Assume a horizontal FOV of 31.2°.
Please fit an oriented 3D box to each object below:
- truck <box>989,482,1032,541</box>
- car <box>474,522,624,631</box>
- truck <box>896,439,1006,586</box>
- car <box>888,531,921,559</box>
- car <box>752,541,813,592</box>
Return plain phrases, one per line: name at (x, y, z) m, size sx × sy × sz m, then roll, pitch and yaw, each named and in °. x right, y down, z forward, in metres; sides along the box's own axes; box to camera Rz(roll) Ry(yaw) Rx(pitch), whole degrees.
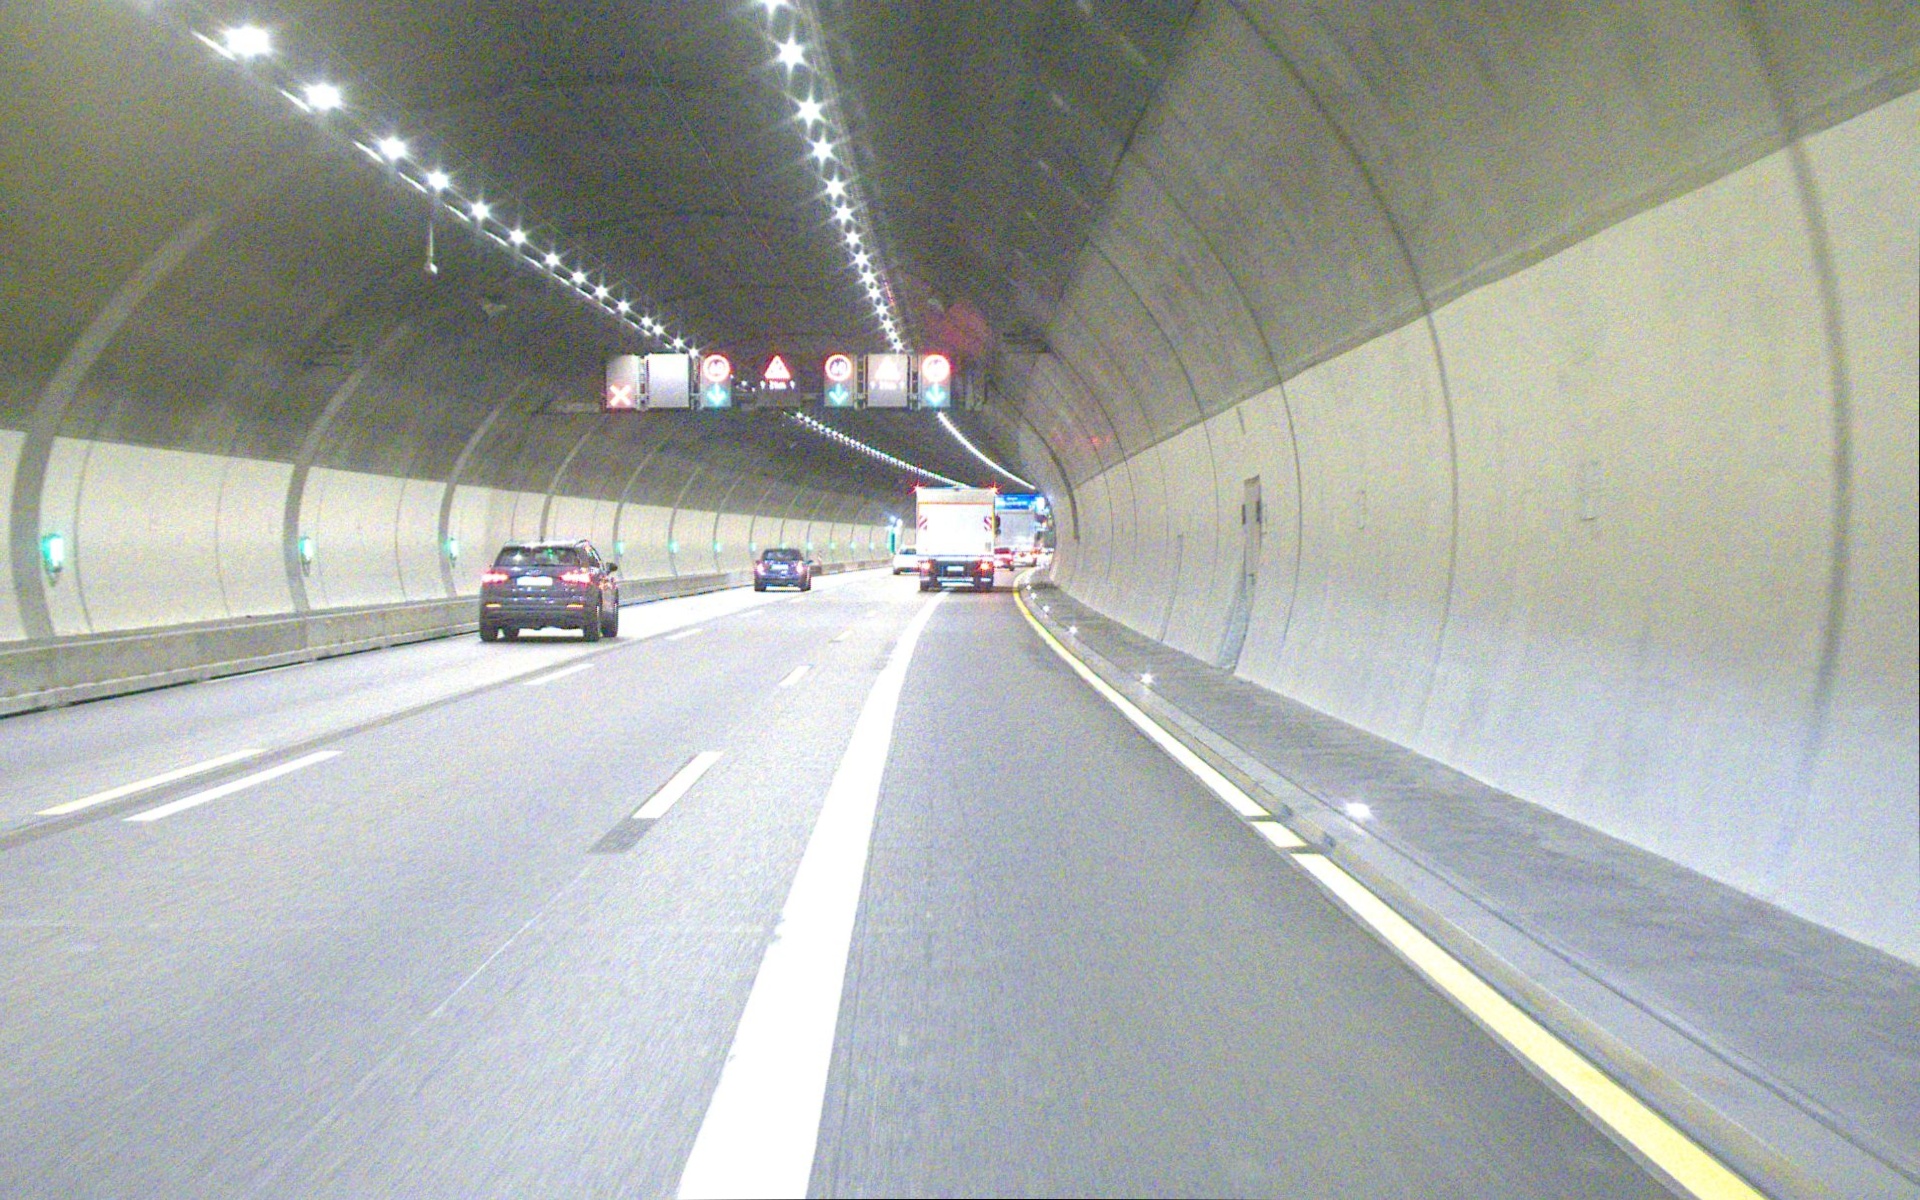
truck at (3.689, -6.366, 247.250) m, size 2.923 × 4.034 × 14.029 m, roll -1°, pitch 1°, yaw 1°
car at (-6.338, -0.401, 53.424) m, size 1.812 × 1.612 × 4.000 m, roll 0°, pitch 2°, yaw 0°
truck at (-0.456, -3.006, 119.450) m, size 3.278 × 4.634 × 17.288 m, roll -1°, pitch 1°, yaw -2°
car at (-2.795, -2.752, 172.608) m, size 1.650 × 1.270 × 4.001 m, roll 0°, pitch 3°, yaw -1°
car at (-5.740, -1.101, 111.624) m, size 1.812 × 1.514 × 4.001 m, roll 0°, pitch 3°, yaw -1°
